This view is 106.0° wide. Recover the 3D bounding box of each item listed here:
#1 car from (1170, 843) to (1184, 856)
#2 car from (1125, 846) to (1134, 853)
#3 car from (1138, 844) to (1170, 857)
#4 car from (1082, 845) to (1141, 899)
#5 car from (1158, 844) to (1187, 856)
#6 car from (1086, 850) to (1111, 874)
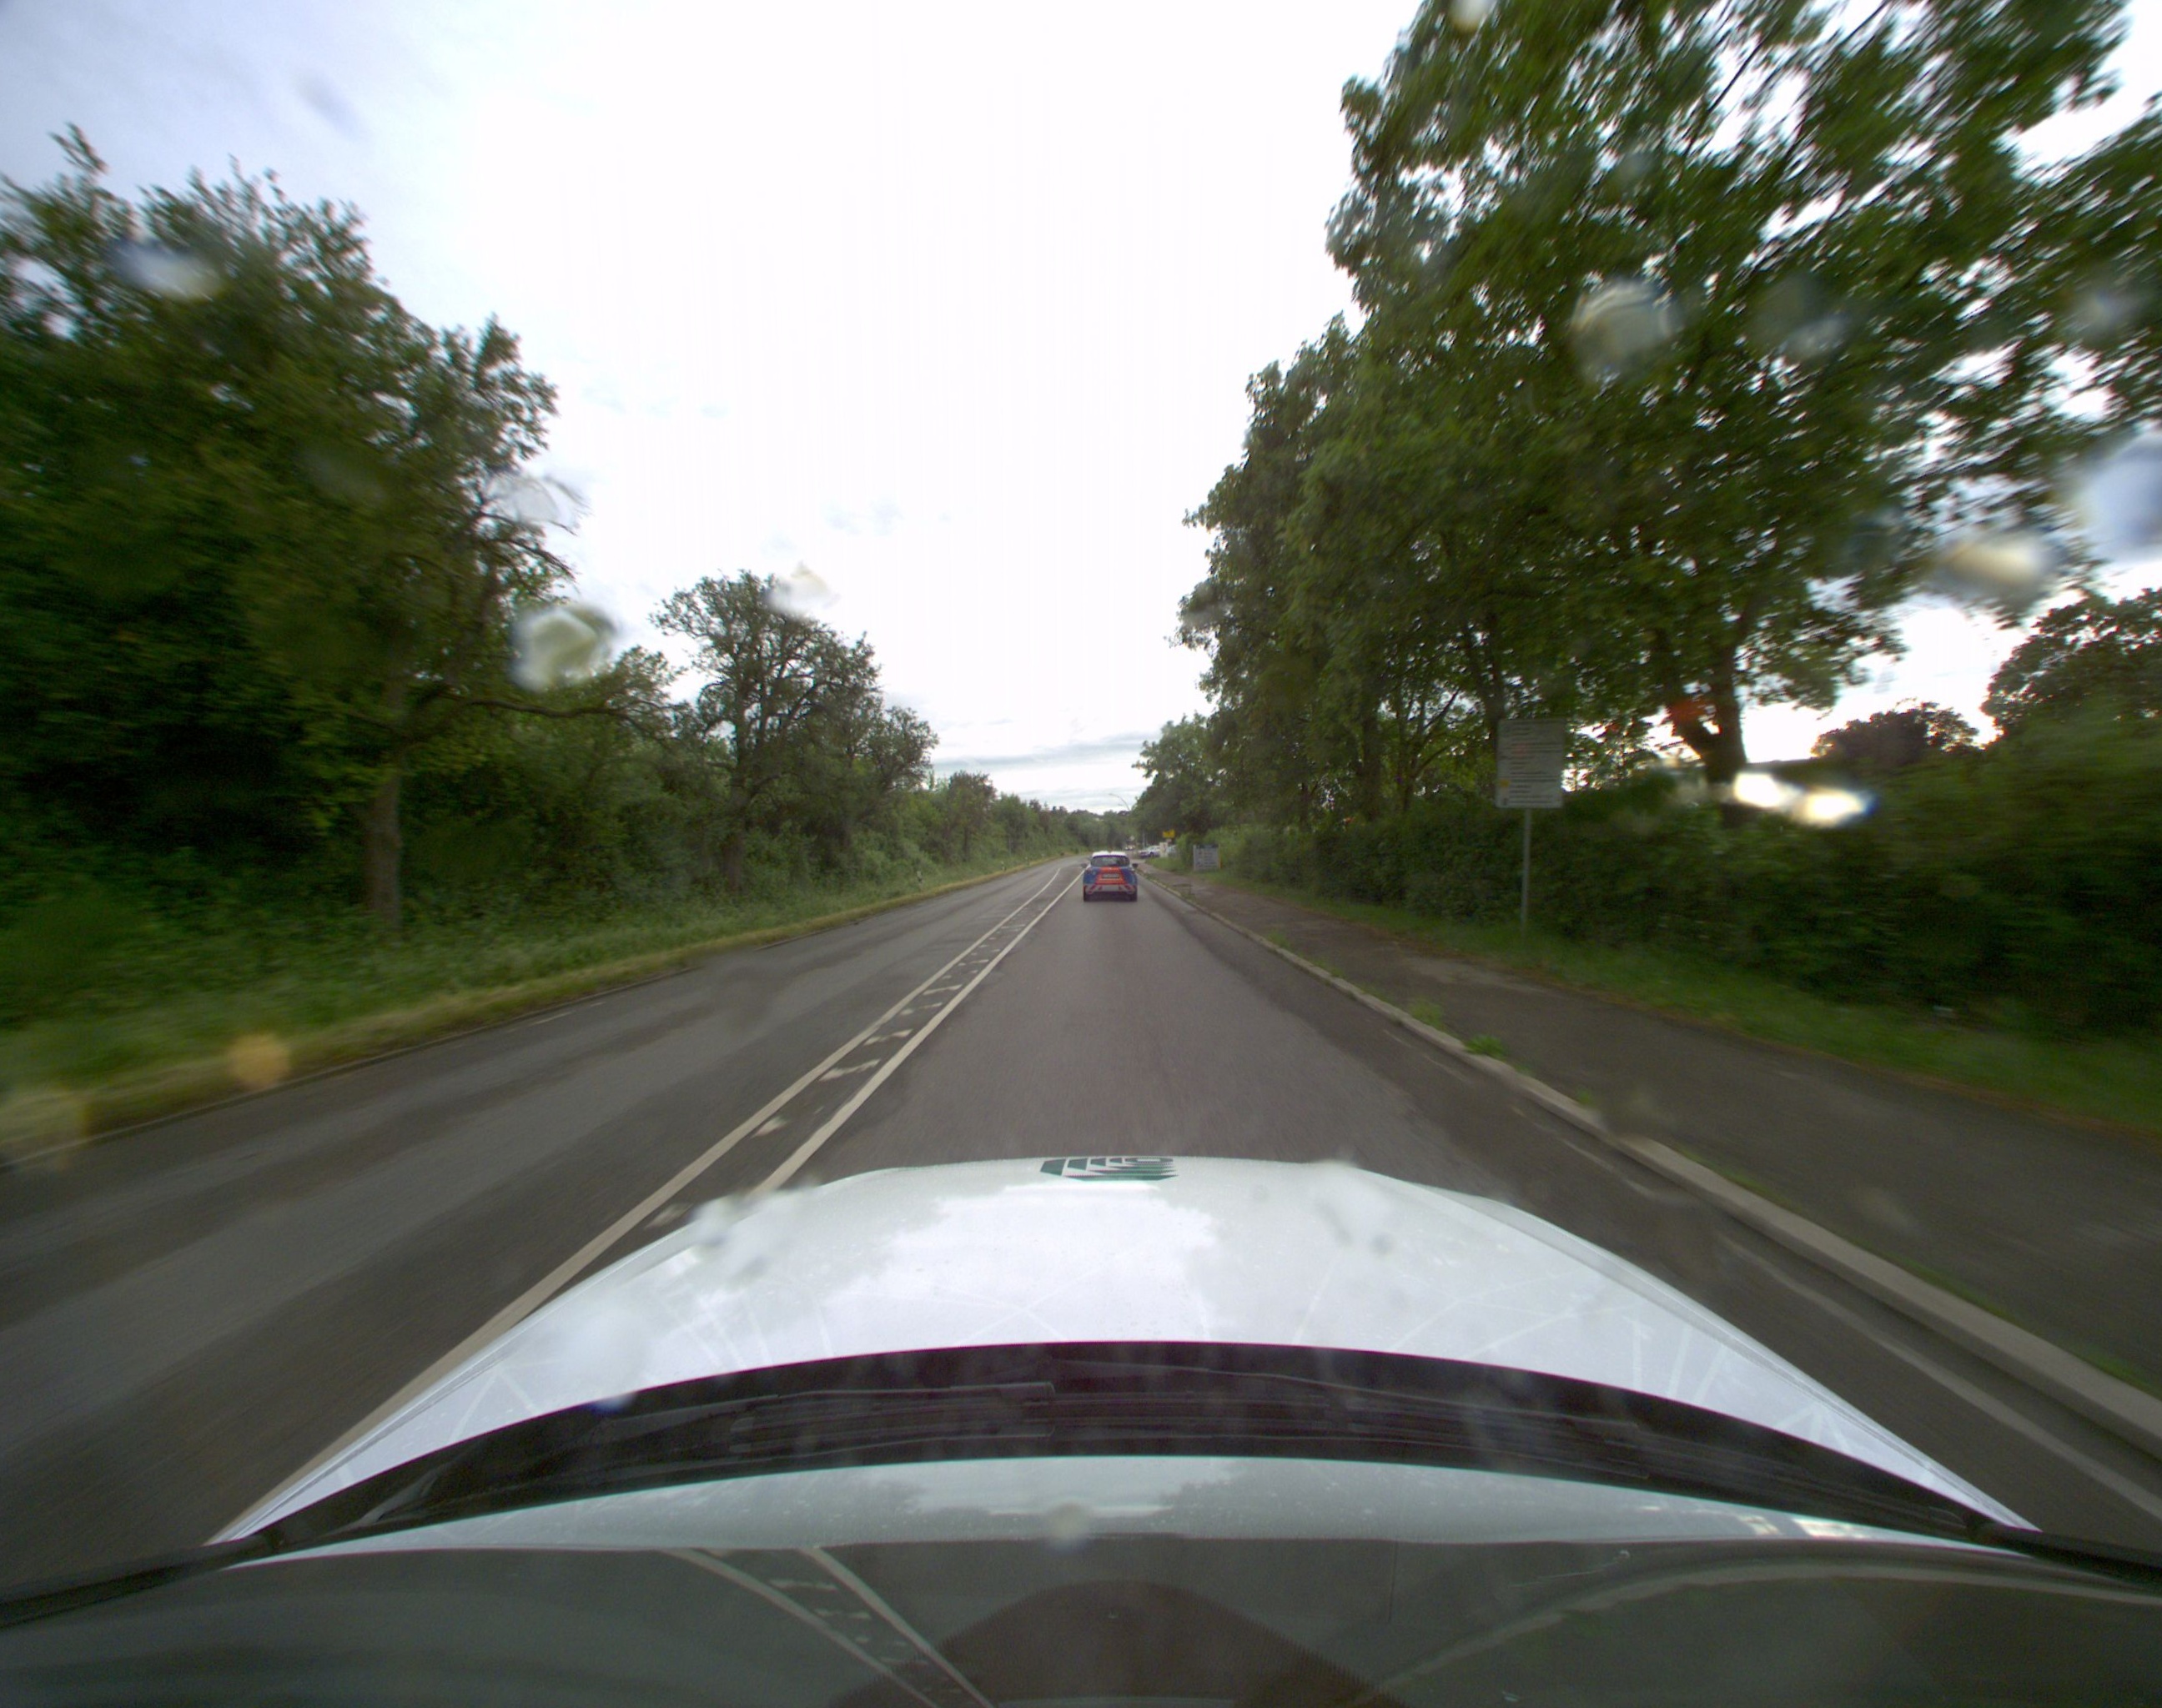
[{"bbox_3d":[13.445,-0.619,114.284,1.818,1.829,4.268,0,0,4],"label":"car"},{"bbox_3d":[13.730,-1.279,231.011,1.682,1.790,3.870,0,0,14],"label":"car"},{"bbox_3d":[10.457,-0.483,116.958,4.644,1.751,2.011,1,-1,-43],"label":"car"},{"bbox_3d":[0.976,0.564,26.922,1.799,1.668,3.856,0,0,1],"label":"car"},{"bbox_3d":[13.708,-0.604,121.845,1.907,1.751,4.646,0,1,44],"label":"car"},{"bbox_3d":[1.191,0.539,55.113,1.688,1.595,3.857,0,0,1],"label":"car"}]
